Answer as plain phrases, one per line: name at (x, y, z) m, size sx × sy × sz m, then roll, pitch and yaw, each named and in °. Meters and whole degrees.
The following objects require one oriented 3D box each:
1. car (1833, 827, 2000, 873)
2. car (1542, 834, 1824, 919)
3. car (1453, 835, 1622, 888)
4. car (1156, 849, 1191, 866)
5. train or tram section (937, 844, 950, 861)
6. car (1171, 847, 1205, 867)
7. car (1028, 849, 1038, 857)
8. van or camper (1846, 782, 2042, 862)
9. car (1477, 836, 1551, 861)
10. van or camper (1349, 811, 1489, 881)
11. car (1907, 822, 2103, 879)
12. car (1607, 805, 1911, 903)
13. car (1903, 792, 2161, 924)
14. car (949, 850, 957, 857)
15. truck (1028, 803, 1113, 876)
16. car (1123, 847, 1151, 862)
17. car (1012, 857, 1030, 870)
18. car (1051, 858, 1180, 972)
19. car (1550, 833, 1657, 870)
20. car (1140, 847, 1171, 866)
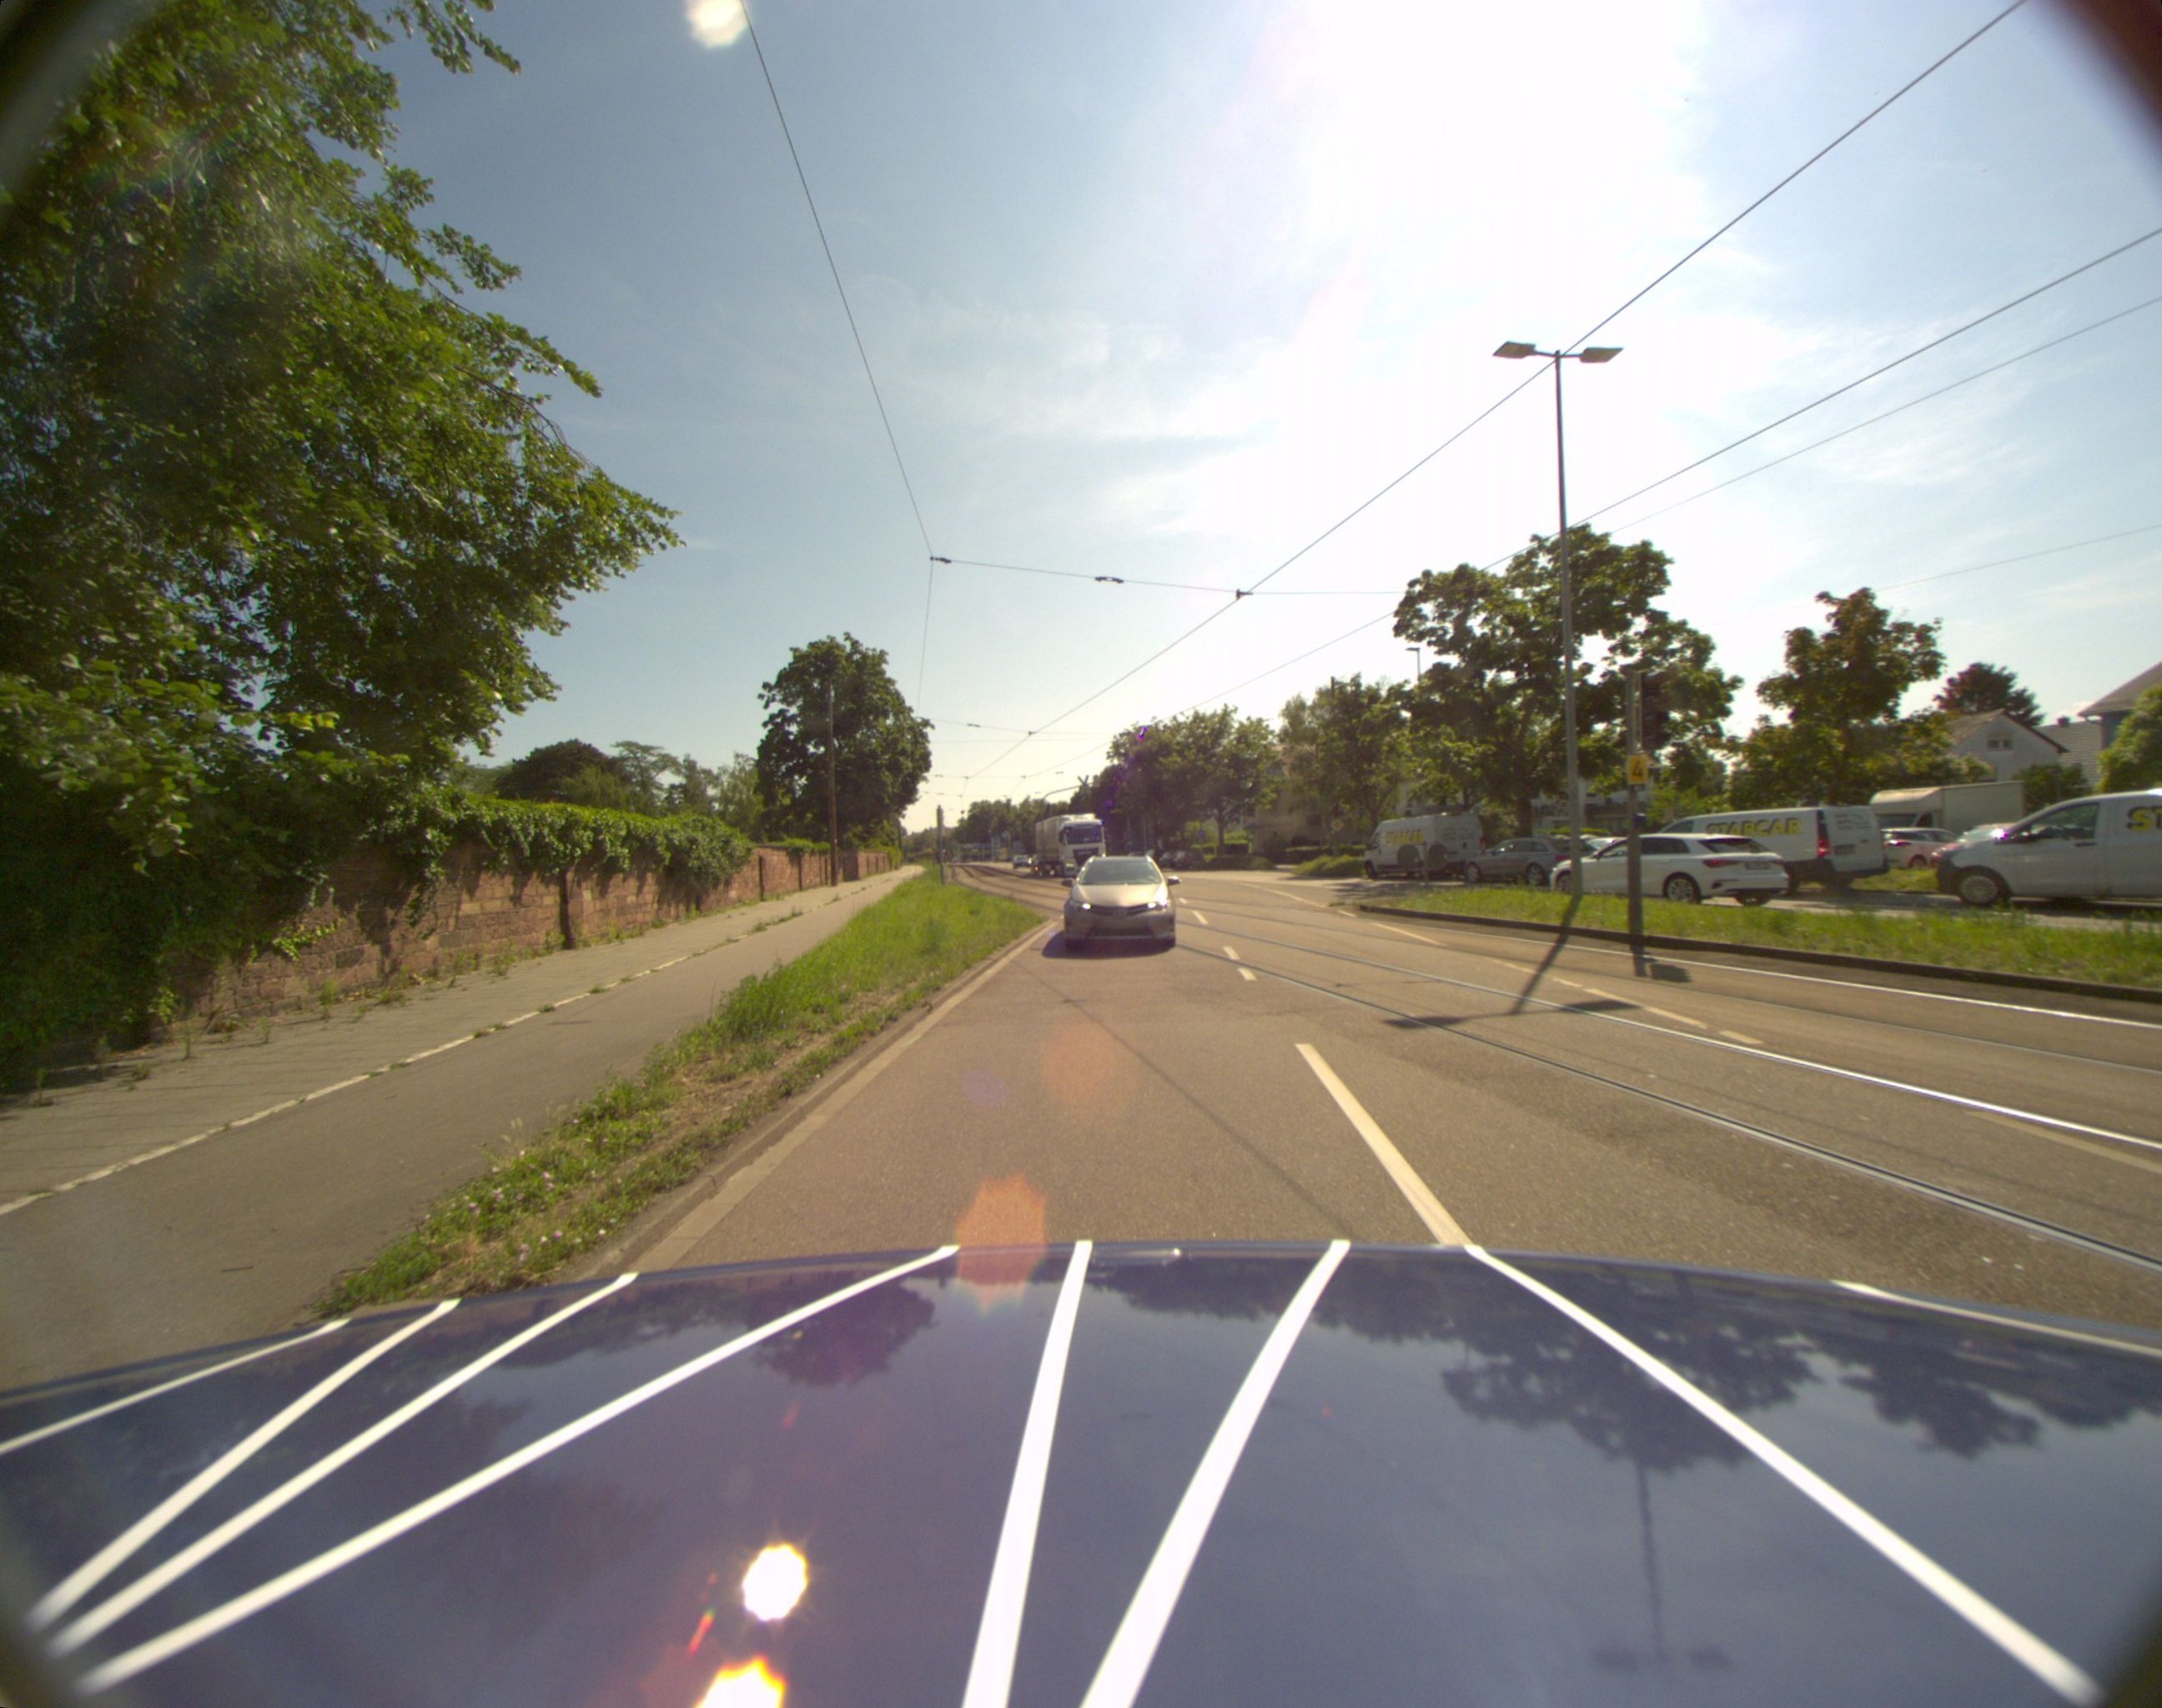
car at (25.967, -0.145, 23.668) m, size 3.929 × 1.263 × 1.662 m, roll -2°, pitch 1°, yaw -10°
car at (11.817, 0.371, 15.370) m, size 1.798 × 1.414 × 4.331 m, roll -2°, pitch 1°, yaw -11°
car at (14.516, 0.193, 24.573) m, size 1.938 × 1.446 × 4.881 m, roll -3°, pitch 1°, yaw -9°
car at (7.881, 0.288, 64.973) m, size 1.702 × 1.387 × 4.577 m, roll -2°, pitch 0°, yaw -9°
train or tram section at (-32.779, -0.373, 181.787) m, size 2.678 × 3.631 × 15.290 m, roll -4°, pitch 1°, yaw -9°
car at (8.414, 0.208, 60.127) m, size 1.621 × 1.442 × 4.079 m, roll -2°, pitch 1°, yaw -8°
car at (-10.098, -0.202, 160.011) m, size 1.680 × 1.493 × 3.763 m, roll -6°, pitch 1°, yaw -9°
van or camper at (37.919, -1.384, 33.445) m, size 6.974 × 3.226 × 2.579 m, roll -2°, pitch 1°, yaw -11°
car at (29.355, -0.374, 51.576) m, size 3.998 × 1.516 × 1.807 m, roll -2°, pitch 1°, yaw -3°
van or camper at (13.512, -0.316, 30.984) m, size 2.264 × 2.500 × 6.142 m, roll -2°, pitch 1°, yaw -8°
car at (25.833, -0.119, 21.292) m, size 4.000 × 1.401 × 1.730 m, roll -2°, pitch 1°, yaw -10°
car at (16.118, -0.018, 18.559) m, size 2.204 × 1.929 × 5.178 m, roll -4°, pitch 1°, yaw -13°
car at (16.980, 0.005, 11.909) m, size 2.203 × 1.930 × 5.180 m, roll -4°, pitch 1°, yaw -8°
car at (-40.226, -0.207, 238.433) m, size 2.001 × 2.002 × 3.994 m, roll -2°, pitch 1°, yaw -18°
truck at (-1.105, -0.942, 51.551) m, size 3.394 × 4.046 × 14.272 m, roll -4°, pitch 1°, yaw -9°
car at (5.654, -0.001, 77.132) m, size 1.680 × 1.427 × 4.453 m, roll -2°, pitch 1°, yaw -11°
car at (-6.791, 1.030, 85.105) m, size 1.701 × 1.248 × 3.996 m, roll -2°, pitch 1°, yaw -9°
car at (0.583, 0.852, 12.419) m, size 1.719 × 1.439 × 4.031 m, roll -2°, pitch 1°, yaw 3°
car at (23.582, -0.121, 34.315) m, size 4.001 × 1.535 × 1.662 m, roll -2°, pitch 1°, yaw -11°
car at (6.838, 0.184, 70.502) m, size 1.680 × 1.603 × 4.237 m, roll -2°, pitch 1°, yaw -11°
